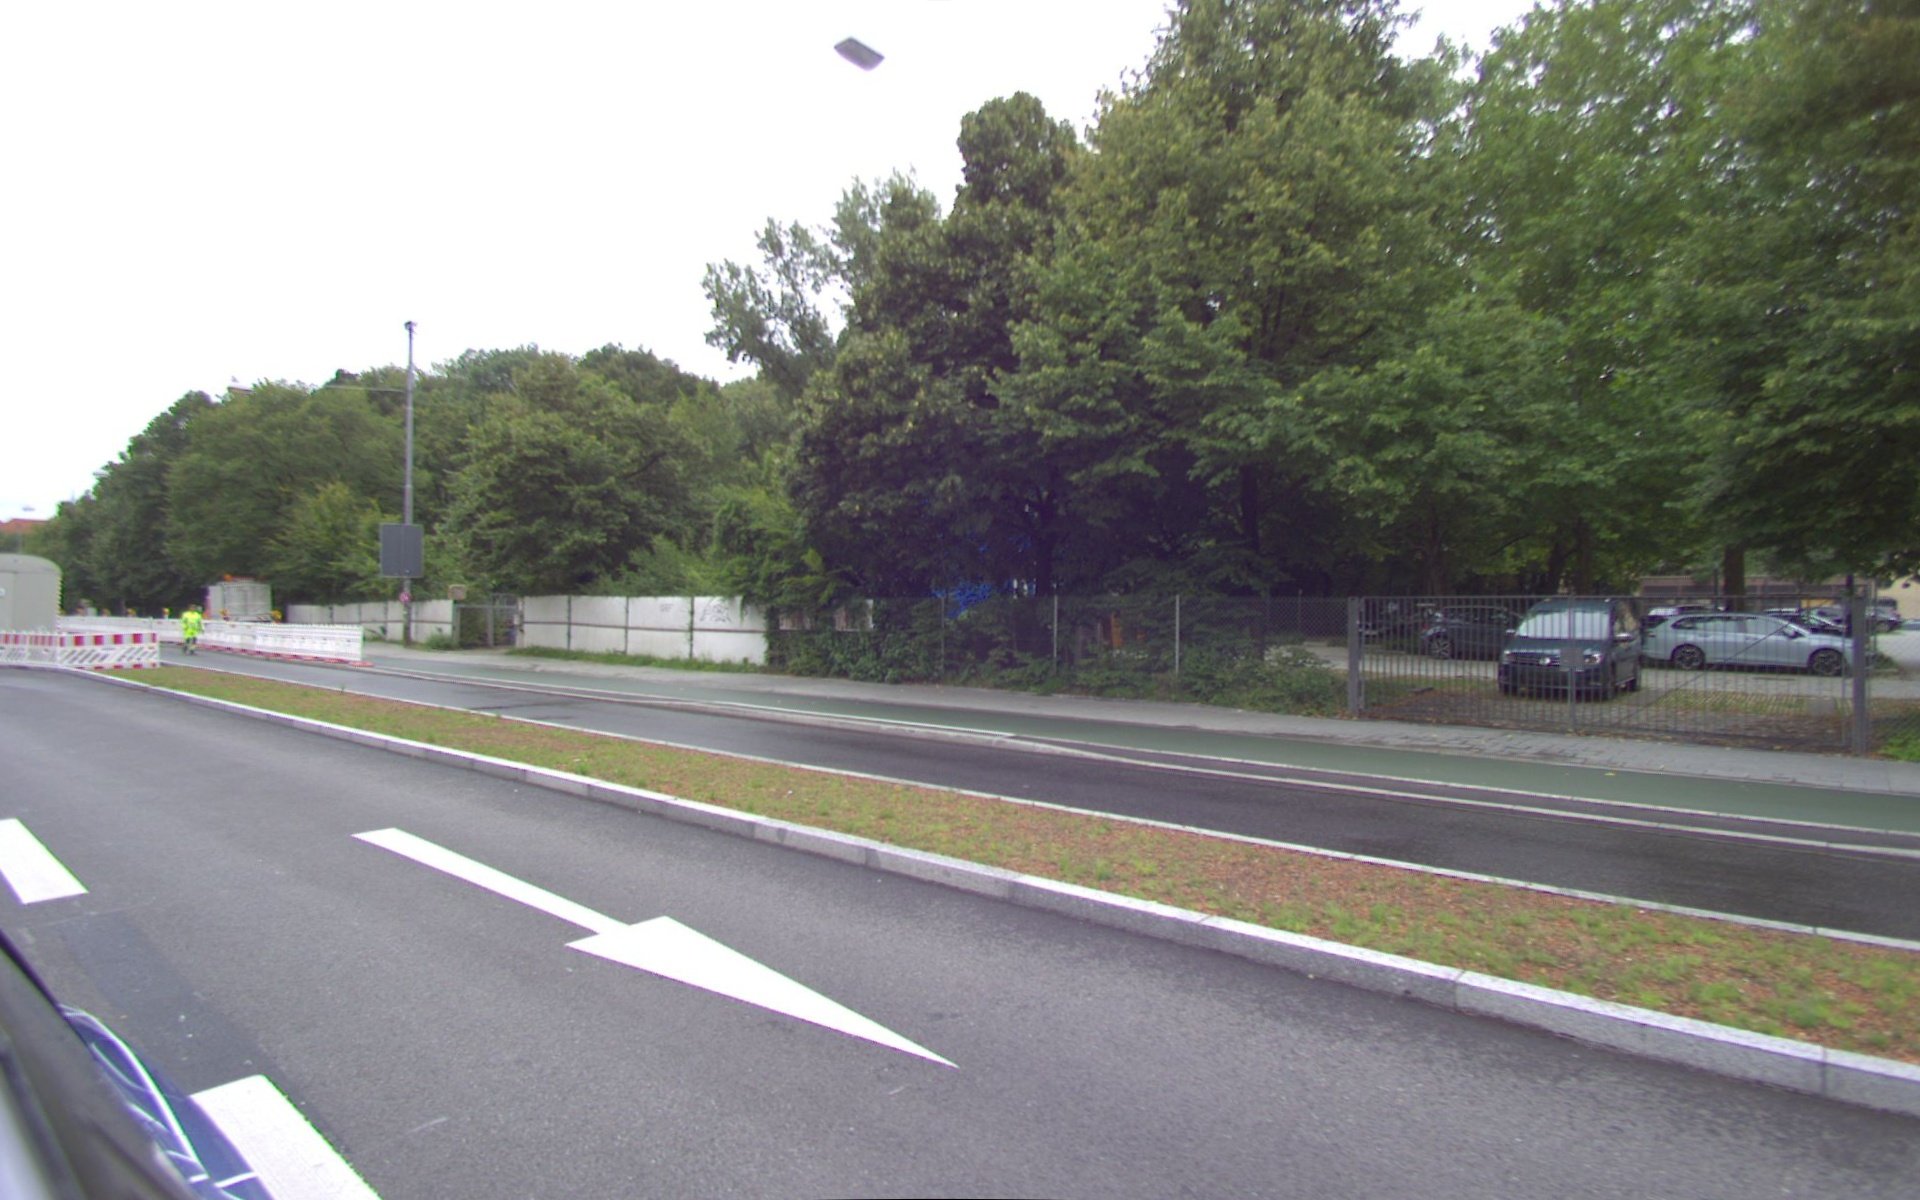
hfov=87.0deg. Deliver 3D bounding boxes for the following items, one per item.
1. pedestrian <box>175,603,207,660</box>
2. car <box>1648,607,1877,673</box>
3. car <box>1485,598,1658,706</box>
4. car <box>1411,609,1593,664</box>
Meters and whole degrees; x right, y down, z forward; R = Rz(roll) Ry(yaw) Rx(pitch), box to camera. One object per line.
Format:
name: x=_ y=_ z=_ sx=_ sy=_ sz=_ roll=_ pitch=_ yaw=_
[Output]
pedestrian: x=-28.074 y=1.130 z=36.944 sx=0.867 sy=2.029 sz=0.748 roll=-1 pitch=0 yaw=41
car: x=19.613 y=0.934 z=24.926 sx=4.257 sy=1.459 sz=1.974 roll=-1 pitch=0 yaw=39
car: x=11.484 y=0.857 z=18.901 sx=1.877 sy=1.722 sz=3.981 roll=2 pitch=2 yaw=45
car: x=15.324 y=0.982 z=28.714 sx=4.257 sy=1.414 sz=1.974 roll=-1 pitch=0 yaw=39
